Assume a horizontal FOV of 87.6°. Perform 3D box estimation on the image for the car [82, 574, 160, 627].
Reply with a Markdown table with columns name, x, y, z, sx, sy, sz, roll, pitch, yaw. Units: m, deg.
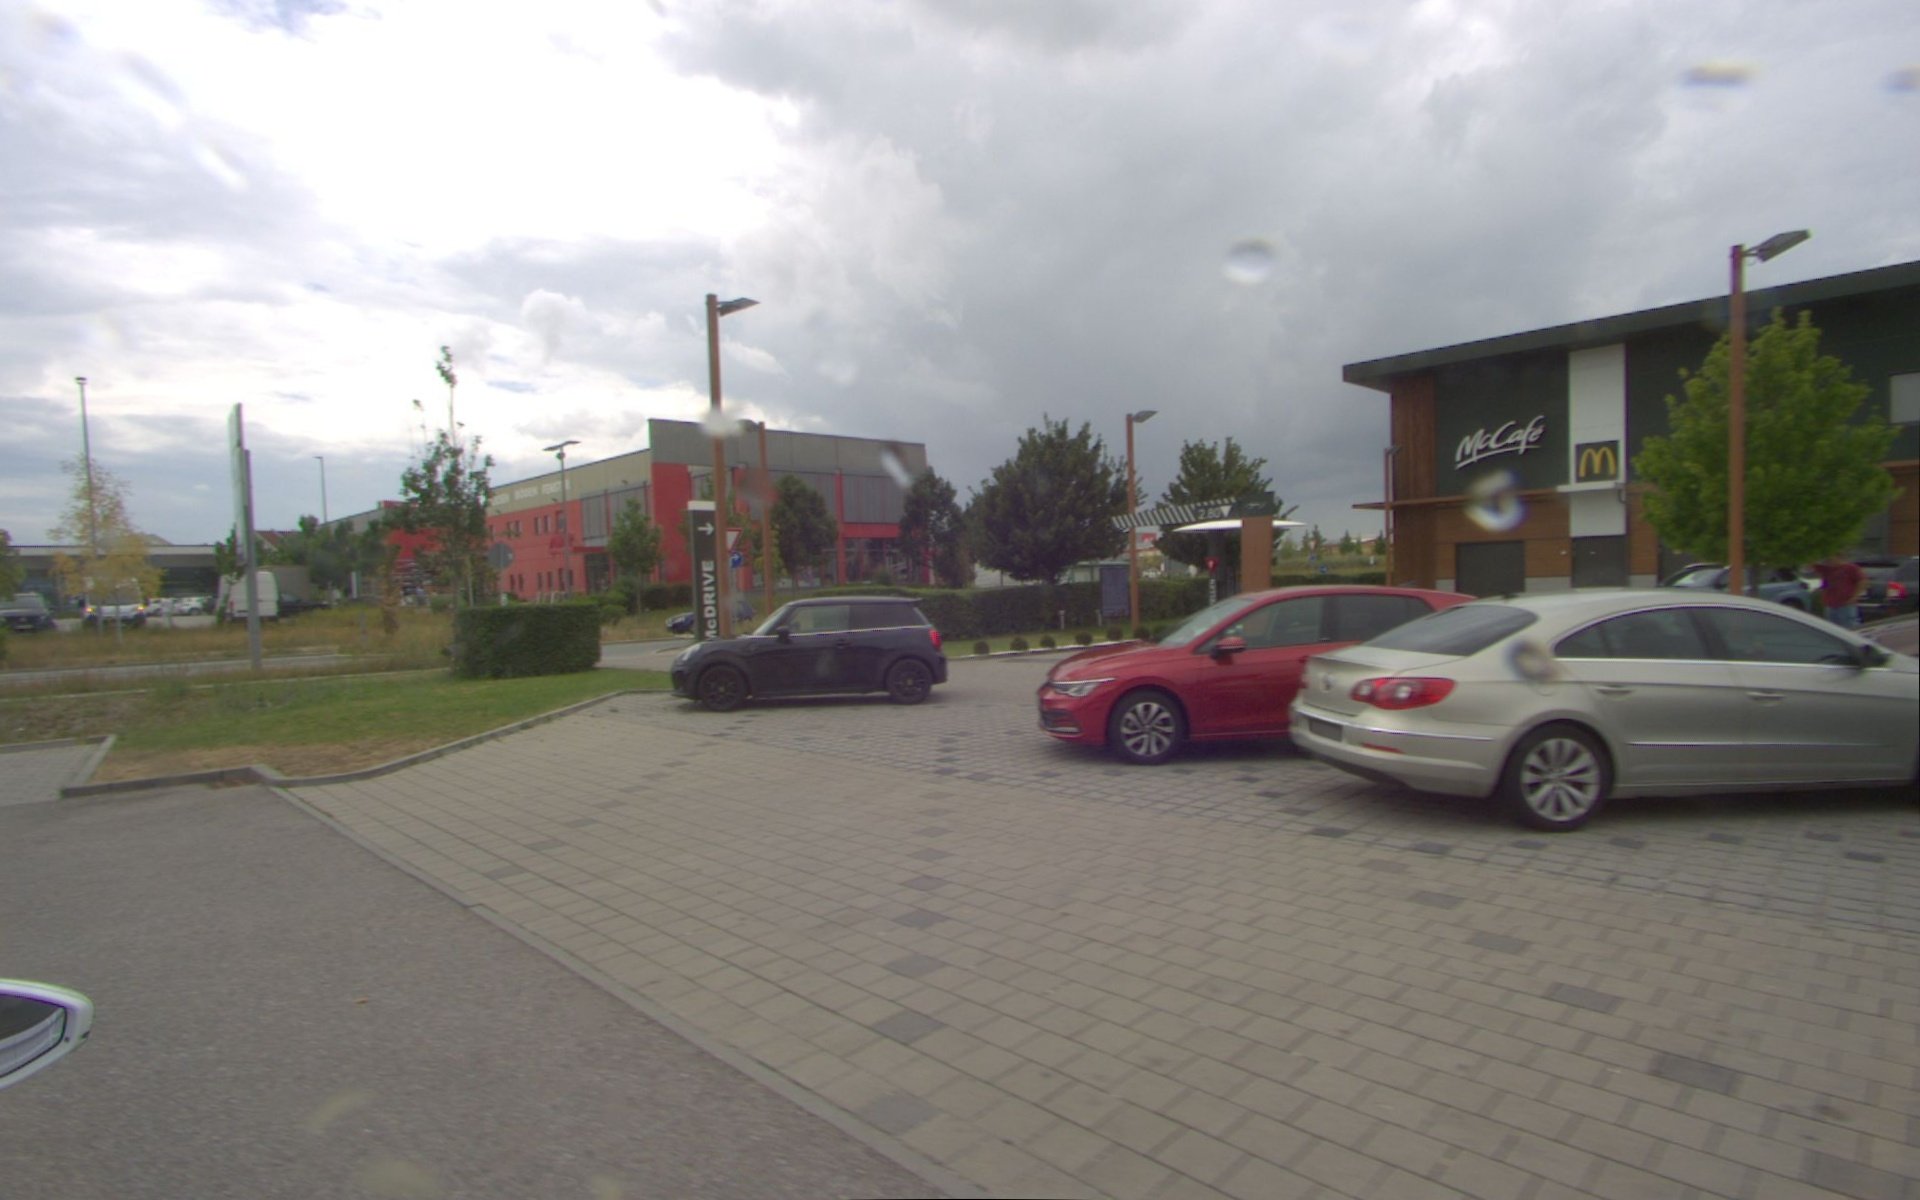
| name | x | y | z | sx | sy | sz | roll | pitch | yaw |
| --- | --- | --- | --- | --- | --- | --- | --- | --- | --- |
| car | -38.192 | -0.051 | 45.530 | 2.391 | 2.245 | 6.000 | -2 | 3 | -42 |

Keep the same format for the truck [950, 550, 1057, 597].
| name | x | y | z | sx | sy | sz | roll | pitch | yaw |
| --- | --- | --- | --- | --- | --- | --- | --- | --- | --- |
| truck | 4.326 | -2.753 | 103.663 | 3.727 | 4.562 | 11.881 | -3 | 4 | -42 |

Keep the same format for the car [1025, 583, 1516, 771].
| name | x | y | z | sx | sy | sz | roll | pitch | yaw |
| --- | --- | --- | --- | --- | --- | --- | --- | --- | --- |
| car | 2.619 | 0.625 | 9.091 | 3.922 | 1.484 | 1.687 | -1 | 1 | -1 |

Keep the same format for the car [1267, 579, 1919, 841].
| name | x | y | z | sx | sy | sz | roll | pitch | yaw |
| --- | --- | --- | --- | --- | --- | --- | --- | --- | --- |
| car | 4.509 | 0.603 | 6.656 | 4.373 | 1.431 | 1.753 | -1 | 1 | -4 |

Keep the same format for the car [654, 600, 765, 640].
| name | x | y | z | sx | sy | sz | roll | pitch | yaw |
| --- | --- | --- | --- | --- | --- | --- | --- | --- | --- |
| car | -11.078 | 0.841 | 44.454 | 4.364 | 1.507 | 1.915 | -3 | 3 | -36 |

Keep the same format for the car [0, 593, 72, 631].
| name | x | y | z | sx | sy | sz | roll | pitch | yaw |
| --- | --- | --- | --- | --- | --- | --- | --- | --- | --- |
| car | -48.078 | 0.606 | 51.160 | 3.958 | 1.763 | 1.872 | -3 | 4 | -43 |

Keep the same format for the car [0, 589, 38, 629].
| name | x | y | z | sx | sy | sz | roll | pitch | yaw |
| --- | --- | --- | --- | --- | --- | --- | --- | --- | --- |
| car | -51.974 | 0.513 | 53.292 | 1.976 | 2.042 | 3.967 | 2 | 4 | 40 |

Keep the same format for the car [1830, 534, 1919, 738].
| name | x | y | z | sx | sy | sz | roll | pitch | yaw |
| --- | --- | --- | --- | --- | --- | --- | --- | --- | --- |
| car | 9.783 | 0.290 | 8.038 | 4.141 | 1.713 | 1.795 | 1 | 4 | 41 |

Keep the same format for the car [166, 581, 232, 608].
| name | x | y | z | sx | sy | sz | roll | pitch | yaw |
| --- | --- | --- | --- | --- | --- | --- | --- | --- | --- |
| car | -59.091 | -0.450 | 77.760 | 3.954 | 1.863 | 1.982 | -3 | 4 | -40 |

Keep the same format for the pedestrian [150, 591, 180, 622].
| name | x | y | z | sx | sy | sz | roll | pitch | yaw |
| --- | --- | --- | --- | --- | --- | --- | --- | --- | --- |
| pedestrian | -38.325 | 0.319 | 48.296 | 0.779 | 1.449 | 0.969 | 2 | 4 | 43 |

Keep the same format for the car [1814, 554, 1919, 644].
| name | x | y | z | sx | sy | sz | roll | pitch | yaw |
| --- | --- | --- | --- | --- | --- | --- | --- | --- | --- |
| car | 20.802 | -0.086 | 21.231 | 3.924 | 1.774 | 1.997 | -1 | 3 | -9 |

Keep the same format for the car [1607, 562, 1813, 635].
| name | x | y | z | sx | sy | sz | roll | pitch | yaw |
| --- | --- | --- | --- | --- | --- | --- | --- | --- | --- |
| car | 17.883 | -0.087 | 23.972 | 3.831 | 1.606 | 1.748 | -1 | 3 | -9 |

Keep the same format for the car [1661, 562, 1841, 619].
| name | x | y | z | sx | sy | sz | roll | pitch | yaw |
| --- | --- | --- | --- | --- | --- | --- | --- | --- | --- |
| car | 23.047 | -0.328 | 29.255 | 3.957 | 1.527 | 1.771 | 2 | 4 | 44 |

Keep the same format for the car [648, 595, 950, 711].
| name | x | y | z | sx | sy | sz | roll | pitch | yaw |
| --- | --- | --- | --- | --- | --- | --- | --- | --- | --- |
| car | -2.143 | 0.677 | 13.878 | 3.855 | 1.431 | 1.686 | -1 | 1 | -5 |

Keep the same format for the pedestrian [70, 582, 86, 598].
| name | x | y | z | sx | sy | sz | roll | pitch | yaw |
| --- | --- | --- | --- | --- | --- | --- | --- | --- | --- |
| pedestrian | -78.120 | -0.878 | 88.725 | 0.783 | 1.449 | 0.652 | 0 | 3 | 10 |

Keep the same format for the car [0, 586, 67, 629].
| name | x | y | z | sx | sy | sz | roll | pitch | yaw |
| --- | --- | --- | --- | --- | --- | --- | --- | --- | --- |
| car | -40.180 | 0.260 | 43.442 | 2.056 | 1.661 | 5.021 | -2 | 3 | -42 |

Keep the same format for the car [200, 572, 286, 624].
| name | x | y | z | sx | sy | sz | roll | pitch | yaw |
| --- | --- | --- | --- | --- | --- | --- | --- | --- | --- |
| car | -34.829 | -0.181 | 48.562 | 2.322 | 2.299 | 6.438 | -4 | 4 | -45 |

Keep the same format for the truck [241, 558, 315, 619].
| name | x | y | z | sx | sy | sz | roll | pitch | yaw |
| --- | --- | --- | --- | --- | --- | --- | --- | --- | --- |
| truck | -45.533 | -0.814 | 66.730 | 2.629 | 3.796 | 8.172 | -4 | 4 | -44 |
